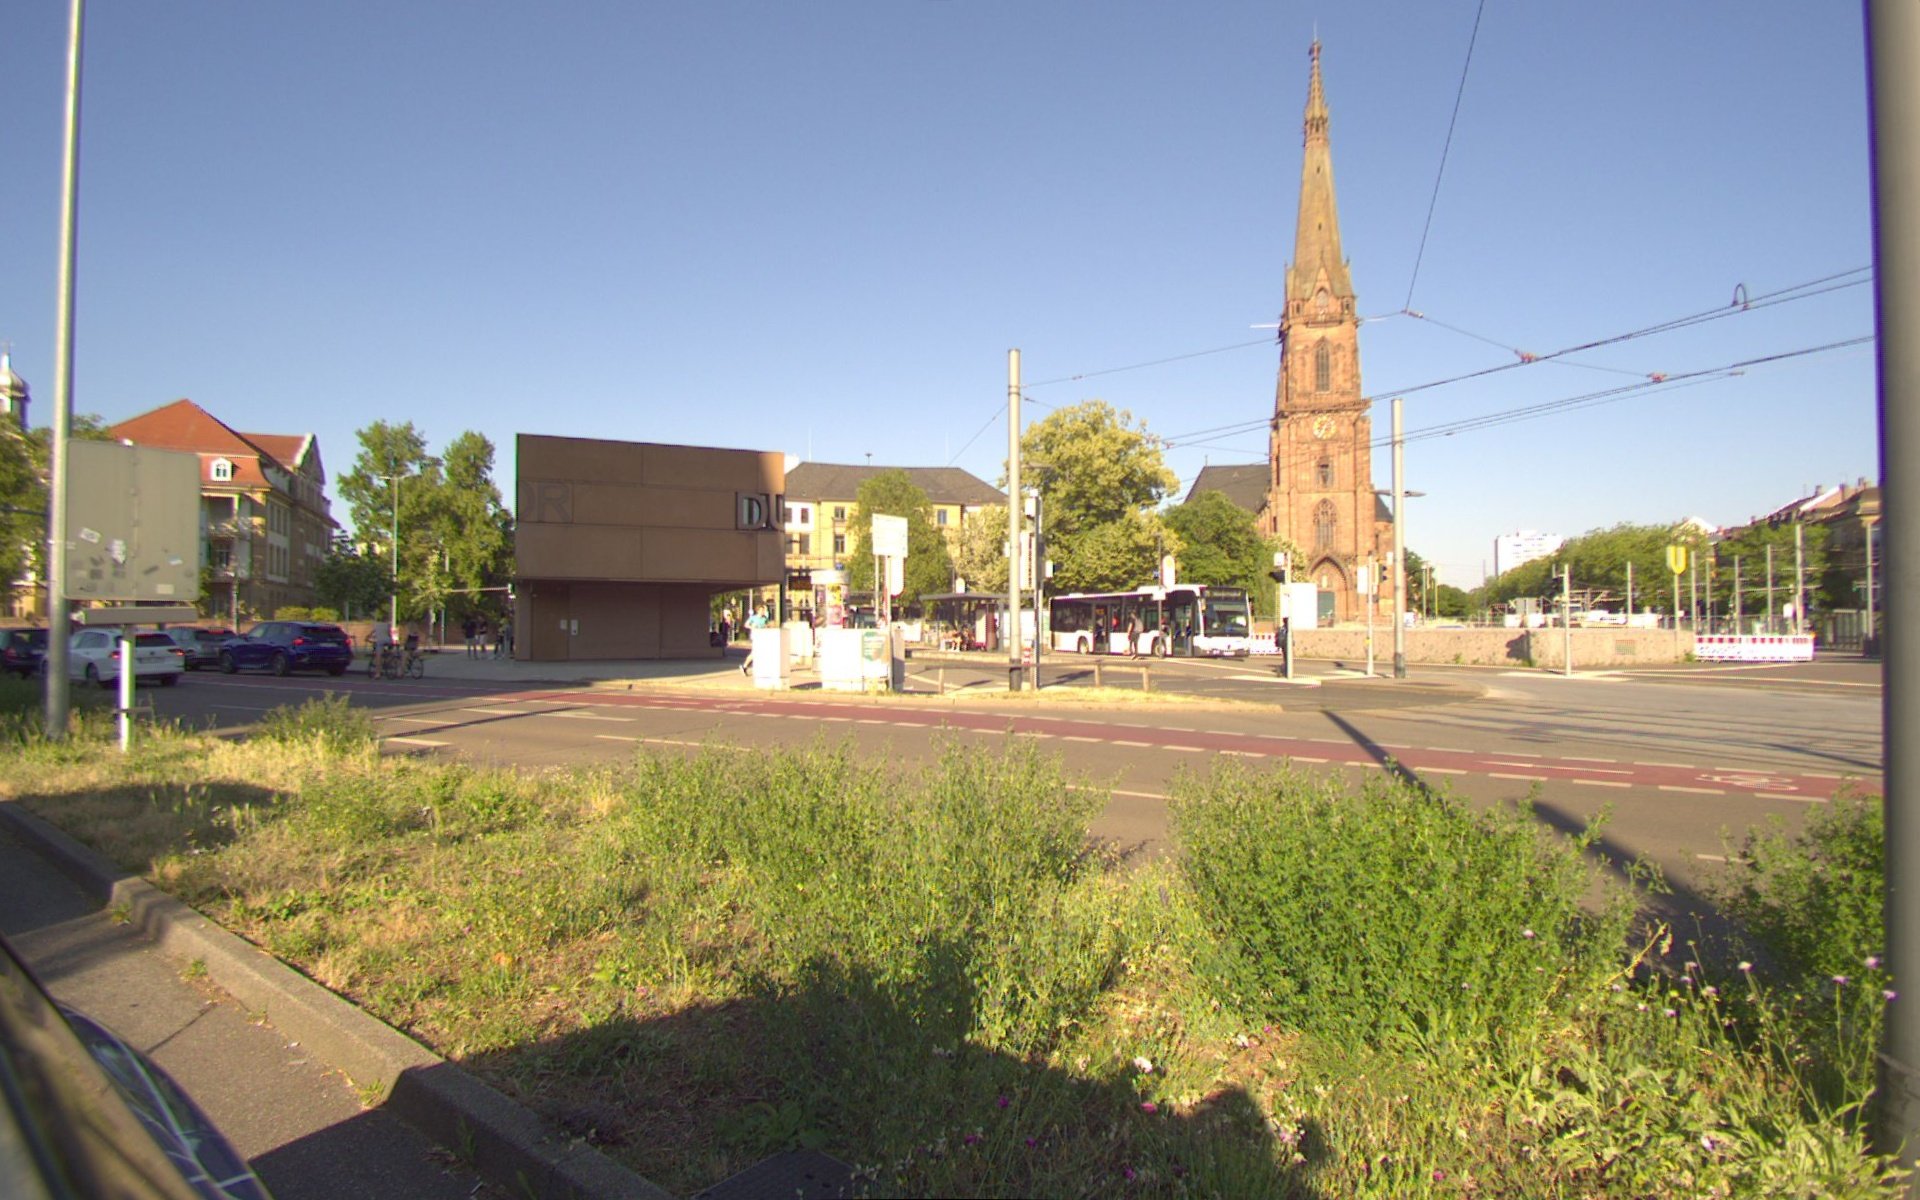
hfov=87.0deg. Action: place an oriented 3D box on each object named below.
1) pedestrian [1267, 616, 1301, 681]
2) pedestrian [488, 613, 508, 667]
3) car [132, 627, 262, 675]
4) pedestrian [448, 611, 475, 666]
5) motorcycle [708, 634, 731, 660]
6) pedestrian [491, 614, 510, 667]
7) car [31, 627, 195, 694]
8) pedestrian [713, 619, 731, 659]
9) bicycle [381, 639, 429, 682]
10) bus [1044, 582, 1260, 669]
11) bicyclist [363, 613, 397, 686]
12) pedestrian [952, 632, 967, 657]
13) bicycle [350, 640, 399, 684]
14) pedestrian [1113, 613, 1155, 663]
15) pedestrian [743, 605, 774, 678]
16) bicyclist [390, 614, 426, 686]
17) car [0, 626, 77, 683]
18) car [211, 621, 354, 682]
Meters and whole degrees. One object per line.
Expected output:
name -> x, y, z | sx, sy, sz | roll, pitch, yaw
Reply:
pedestrian -> 9.132, 1.359, 28.520 | 0.702, 1.771, 0.584 | -1, 0, -30
pedestrian -> -17.696, 1.510, 38.773 | 0.645, 2.029, 0.470 | -1, 0, -29
car -> -25.075, 1.659, 33.240 | 4.375, 1.503, 1.831 | -1, -4, 30
pedestrian -> -18.953, 1.448, 38.469 | 0.765, 2.029, 0.775 | -1, 0, -37
motorcycle -> -9.993, 1.953, 42.086 | 0.935, 1.075, 0.331 | -1, 0, -11
pedestrian -> -18.017, 1.577, 39.671 | 0.645, 2.029, 0.470 | -1, 0, -29
car -> -21.431, 1.462, 25.571 | 4.375, 1.503, 1.831 | -1, 0, 30
pedestrian -> -12.434, 2.039, 52.926 | 0.762, 2.029, 0.778 | -1, 0, -2
bicycle -> -16.027, 1.737, 29.217 | 1.388, 1.201, 0.461 | -1, 0, 24
bus -> 7.670, 0.967, 43.233 | 2.655, 3.174, 12.216 | -1, 0, -23
bicyclist -> -16.346, 1.390, 28.546 | 0.562, 2.029, 0.605 | -1, -2, 25
pedestrian -> -0.020, 2.193, 50.006 | 0.531, 1.196, 0.660 | -1, 0, -21
bicycle -> -16.520, 1.743, 28.568 | 1.388, 1.201, 0.461 | -1, 0, 24
pedestrian -> 6.101, 1.304, 35.522 | 1.025, 1.696, 1.007 | -1, 0, -25
pedestrian -> -5.363, 1.104, 26.938 | 0.787, 1.911, 0.612 | 0, -2, -9
bicyclist -> -15.902, 1.426, 29.150 | 0.705, 2.029, 0.605 | -1, -2, 25
car -> -26.961, 1.486, 28.616 | 4.172, 1.471, 1.739 | -1, 0, 30
car -> -20.131, 1.473, 30.034 | 4.168, 1.703, 1.740 | -1, -1, 27
